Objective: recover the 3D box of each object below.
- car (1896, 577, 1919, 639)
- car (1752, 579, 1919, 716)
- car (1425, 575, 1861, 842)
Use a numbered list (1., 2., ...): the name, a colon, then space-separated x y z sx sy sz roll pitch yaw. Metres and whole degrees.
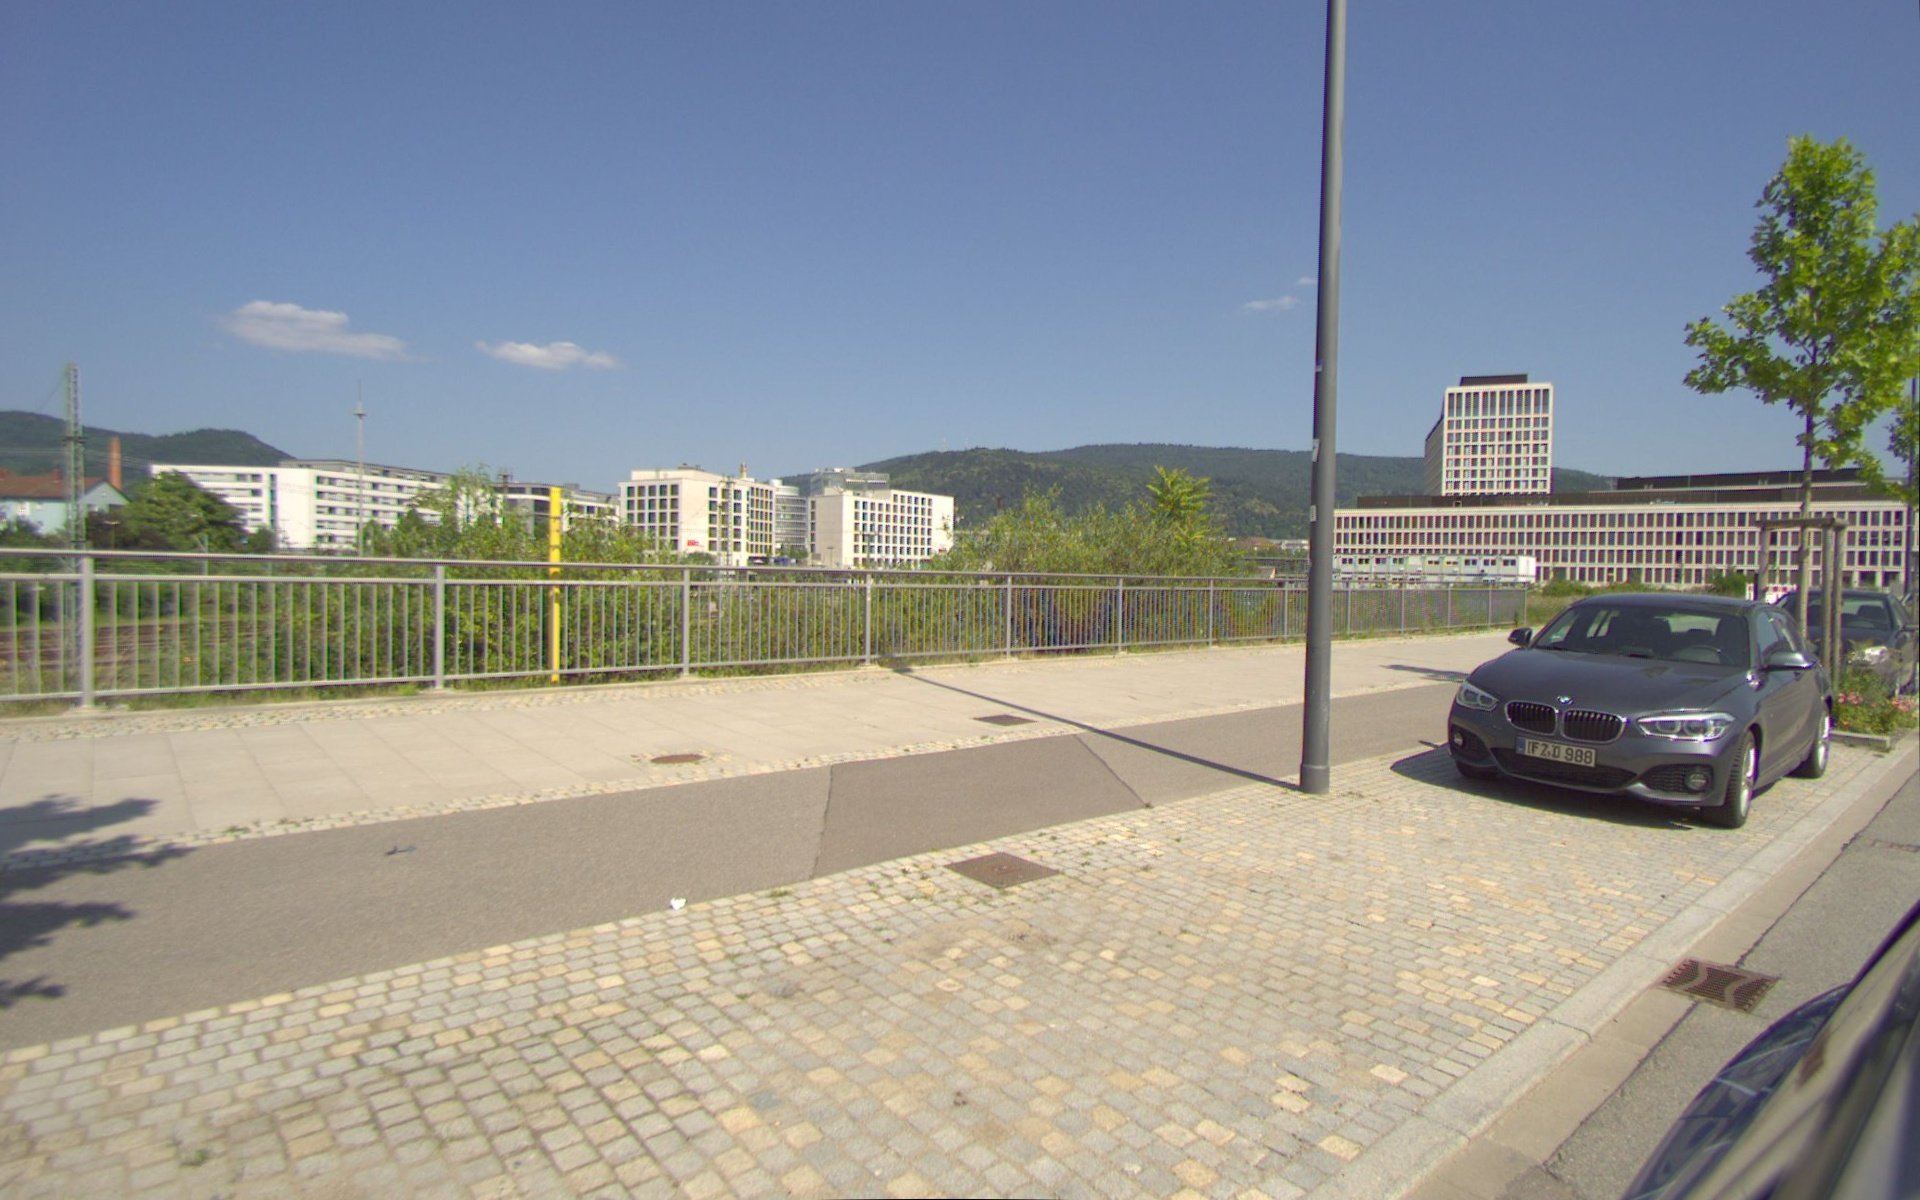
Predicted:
1. car: 24.598 0.184 24.953 3.883 1.481 1.708 0 1 -39
2. car: 12.328 0.535 13.857 3.888 1.480 1.707 -2 5 -43
3. car: 5.333 0.578 7.664 4.196 1.418 1.707 0 4 -42
